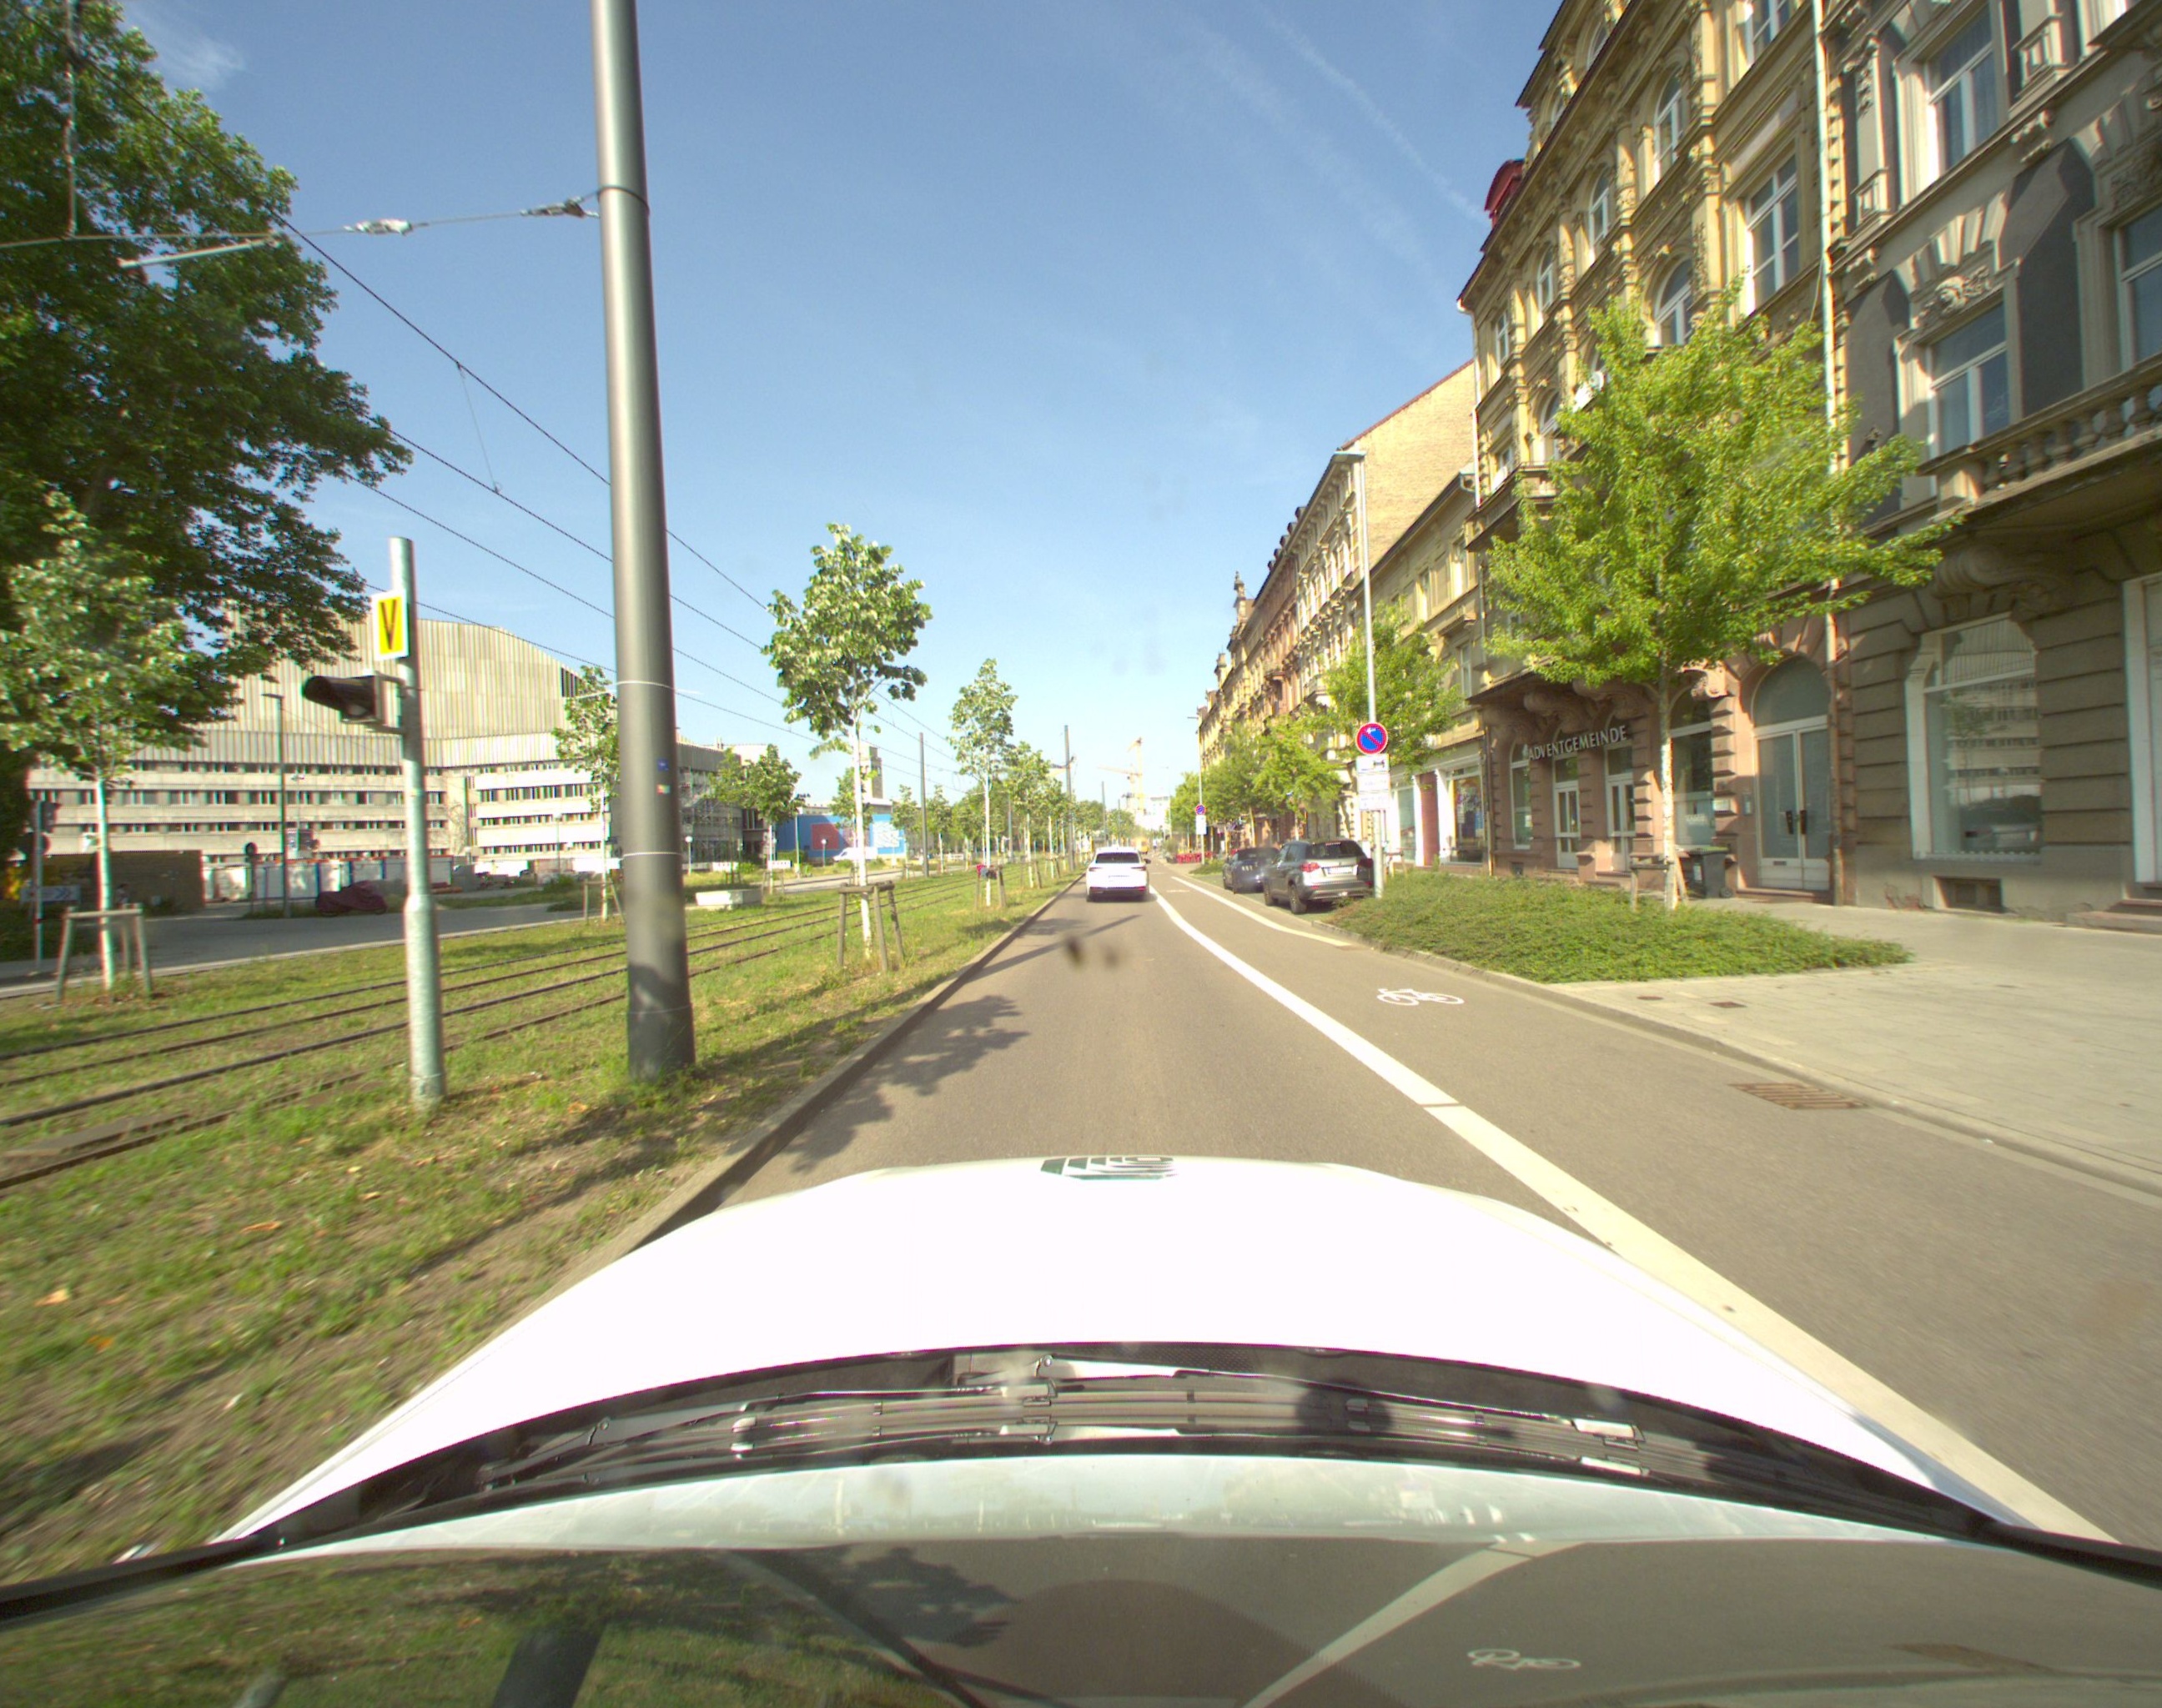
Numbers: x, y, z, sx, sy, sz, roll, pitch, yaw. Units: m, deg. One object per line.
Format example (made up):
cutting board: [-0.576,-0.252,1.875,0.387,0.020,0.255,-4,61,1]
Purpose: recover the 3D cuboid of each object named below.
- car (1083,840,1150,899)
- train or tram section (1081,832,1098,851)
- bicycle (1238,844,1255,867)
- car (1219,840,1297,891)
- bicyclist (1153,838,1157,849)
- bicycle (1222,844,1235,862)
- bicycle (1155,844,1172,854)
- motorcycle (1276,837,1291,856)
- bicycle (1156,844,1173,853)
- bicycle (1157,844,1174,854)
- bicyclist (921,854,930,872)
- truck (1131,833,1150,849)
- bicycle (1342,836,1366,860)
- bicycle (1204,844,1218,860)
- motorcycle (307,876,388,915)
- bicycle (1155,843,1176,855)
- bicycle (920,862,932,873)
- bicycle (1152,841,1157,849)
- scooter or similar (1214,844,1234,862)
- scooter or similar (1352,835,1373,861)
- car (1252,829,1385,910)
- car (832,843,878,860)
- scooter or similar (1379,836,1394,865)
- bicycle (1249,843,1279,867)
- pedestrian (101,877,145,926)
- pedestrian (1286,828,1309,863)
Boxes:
car: [1.096,0.412,24.853,1.810,1.589,4.410,-2,1,3]
train or tram section: [1.756,-2.386,163.211,2.887,3.586,12.484,-3,0,2]
bicycle: [8.173,0.065,40.267,0.490,1.093,1.828,-2,1,3]
car: [5.672,0.309,26.621,1.729,1.396,4.720,-4,1,4]
bicyclist: [13.827,-1.969,152.498,0.706,1.895,0.844,-2,1,4]
bicycle: [9.072,-0.067,50.068,0.501,1.060,1.721,-4,1,17]
bicycle: [9.765,-0.591,96.031,1.924,1.013,0.441,-4,0,6]
motorcycle: [12.628,-0.471,50.706,0.461,1.175,1.947,-5,0,3]
bicycle: [9.847,-0.664,96.511,1.924,0.945,0.441,-4,0,6]
bicycle: [9.595,-0.531,92.479,1.926,0.986,0.471,-4,0,4]
bicyclist: [-15.425,0.922,80.769,0.644,1.736,0.919,-4,0,2]
truck: [9.500,-2.065,131.190,2.208,2.318,5.883,-2,1,-3]
bicycle: [12.585,-0.288,37.542,0.450,1.083,1.445,-2,1,-7]
bicycle: [9.259,-0.136,58.080,0.594,1.122,1.924,-2,1,-4]
motorcycle: [-29.703,1.664,33.019,2.307,1.369,0.809,-3,1,-35]
bicycle: [9.433,-0.578,91.132,2.229,1.104,0.589,-4,0,4]
bicycle: [-15.396,1.339,80.779,0.659,0.961,2.080,-4,0,3]
bicycle: [13.825,-1.750,152.662,0.778,1.496,2.804,-2,1,4]
scooter or similar: [9.980,-0.099,56.884,1.250,1.157,0.340,-5,0,6]
scooter or similar: [12.525,-0.281,36.251,0.604,1.125,0.932,-2,1,3]
car: [5.412,0.294,19.147,1.764,1.588,4.246,-4,1,-1]
car: [-35.498,-0.437,128.048,6.894,2.638,2.499,0,0,-19]
scooter or similar: [12.111,-0.150,32.291,0.287,1.134,1.091,-2,1,8]
bicycle: [8.873,0.037,39.356,0.449,1.082,1.889,-4,-2,44]
pedestrian: [-34.137,1.680,29.036,0.738,1.677,0.672,-3,0,-24]
pedestrian: [11.050,-0.450,41.507,0.820,1.696,0.793,-4,0,-2]
